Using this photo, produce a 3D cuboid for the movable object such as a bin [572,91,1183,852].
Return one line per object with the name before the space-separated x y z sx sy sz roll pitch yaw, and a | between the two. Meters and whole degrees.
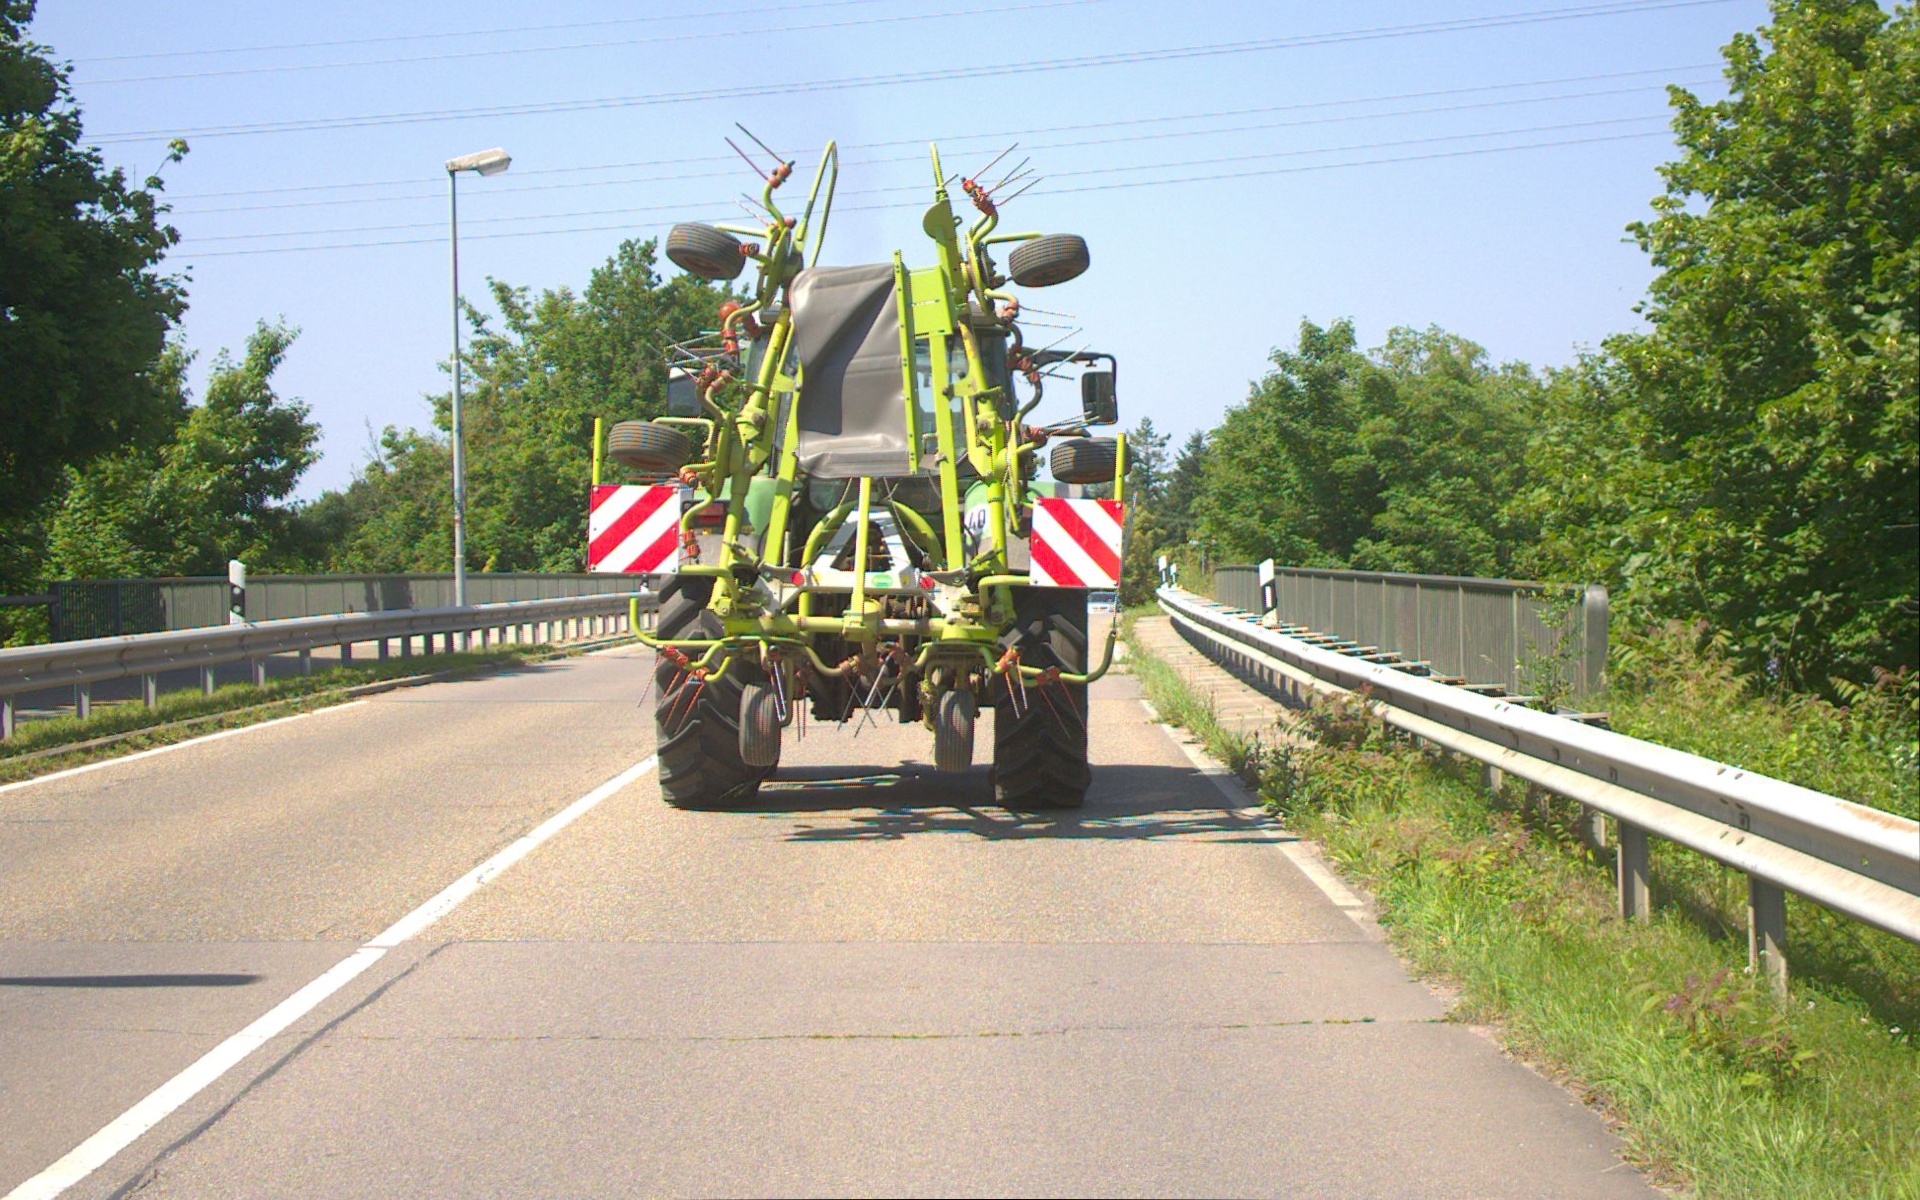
movable object such as a bin | -0.443 -0.643 18.386 2.755 3.432 5.670 0 1 -1
